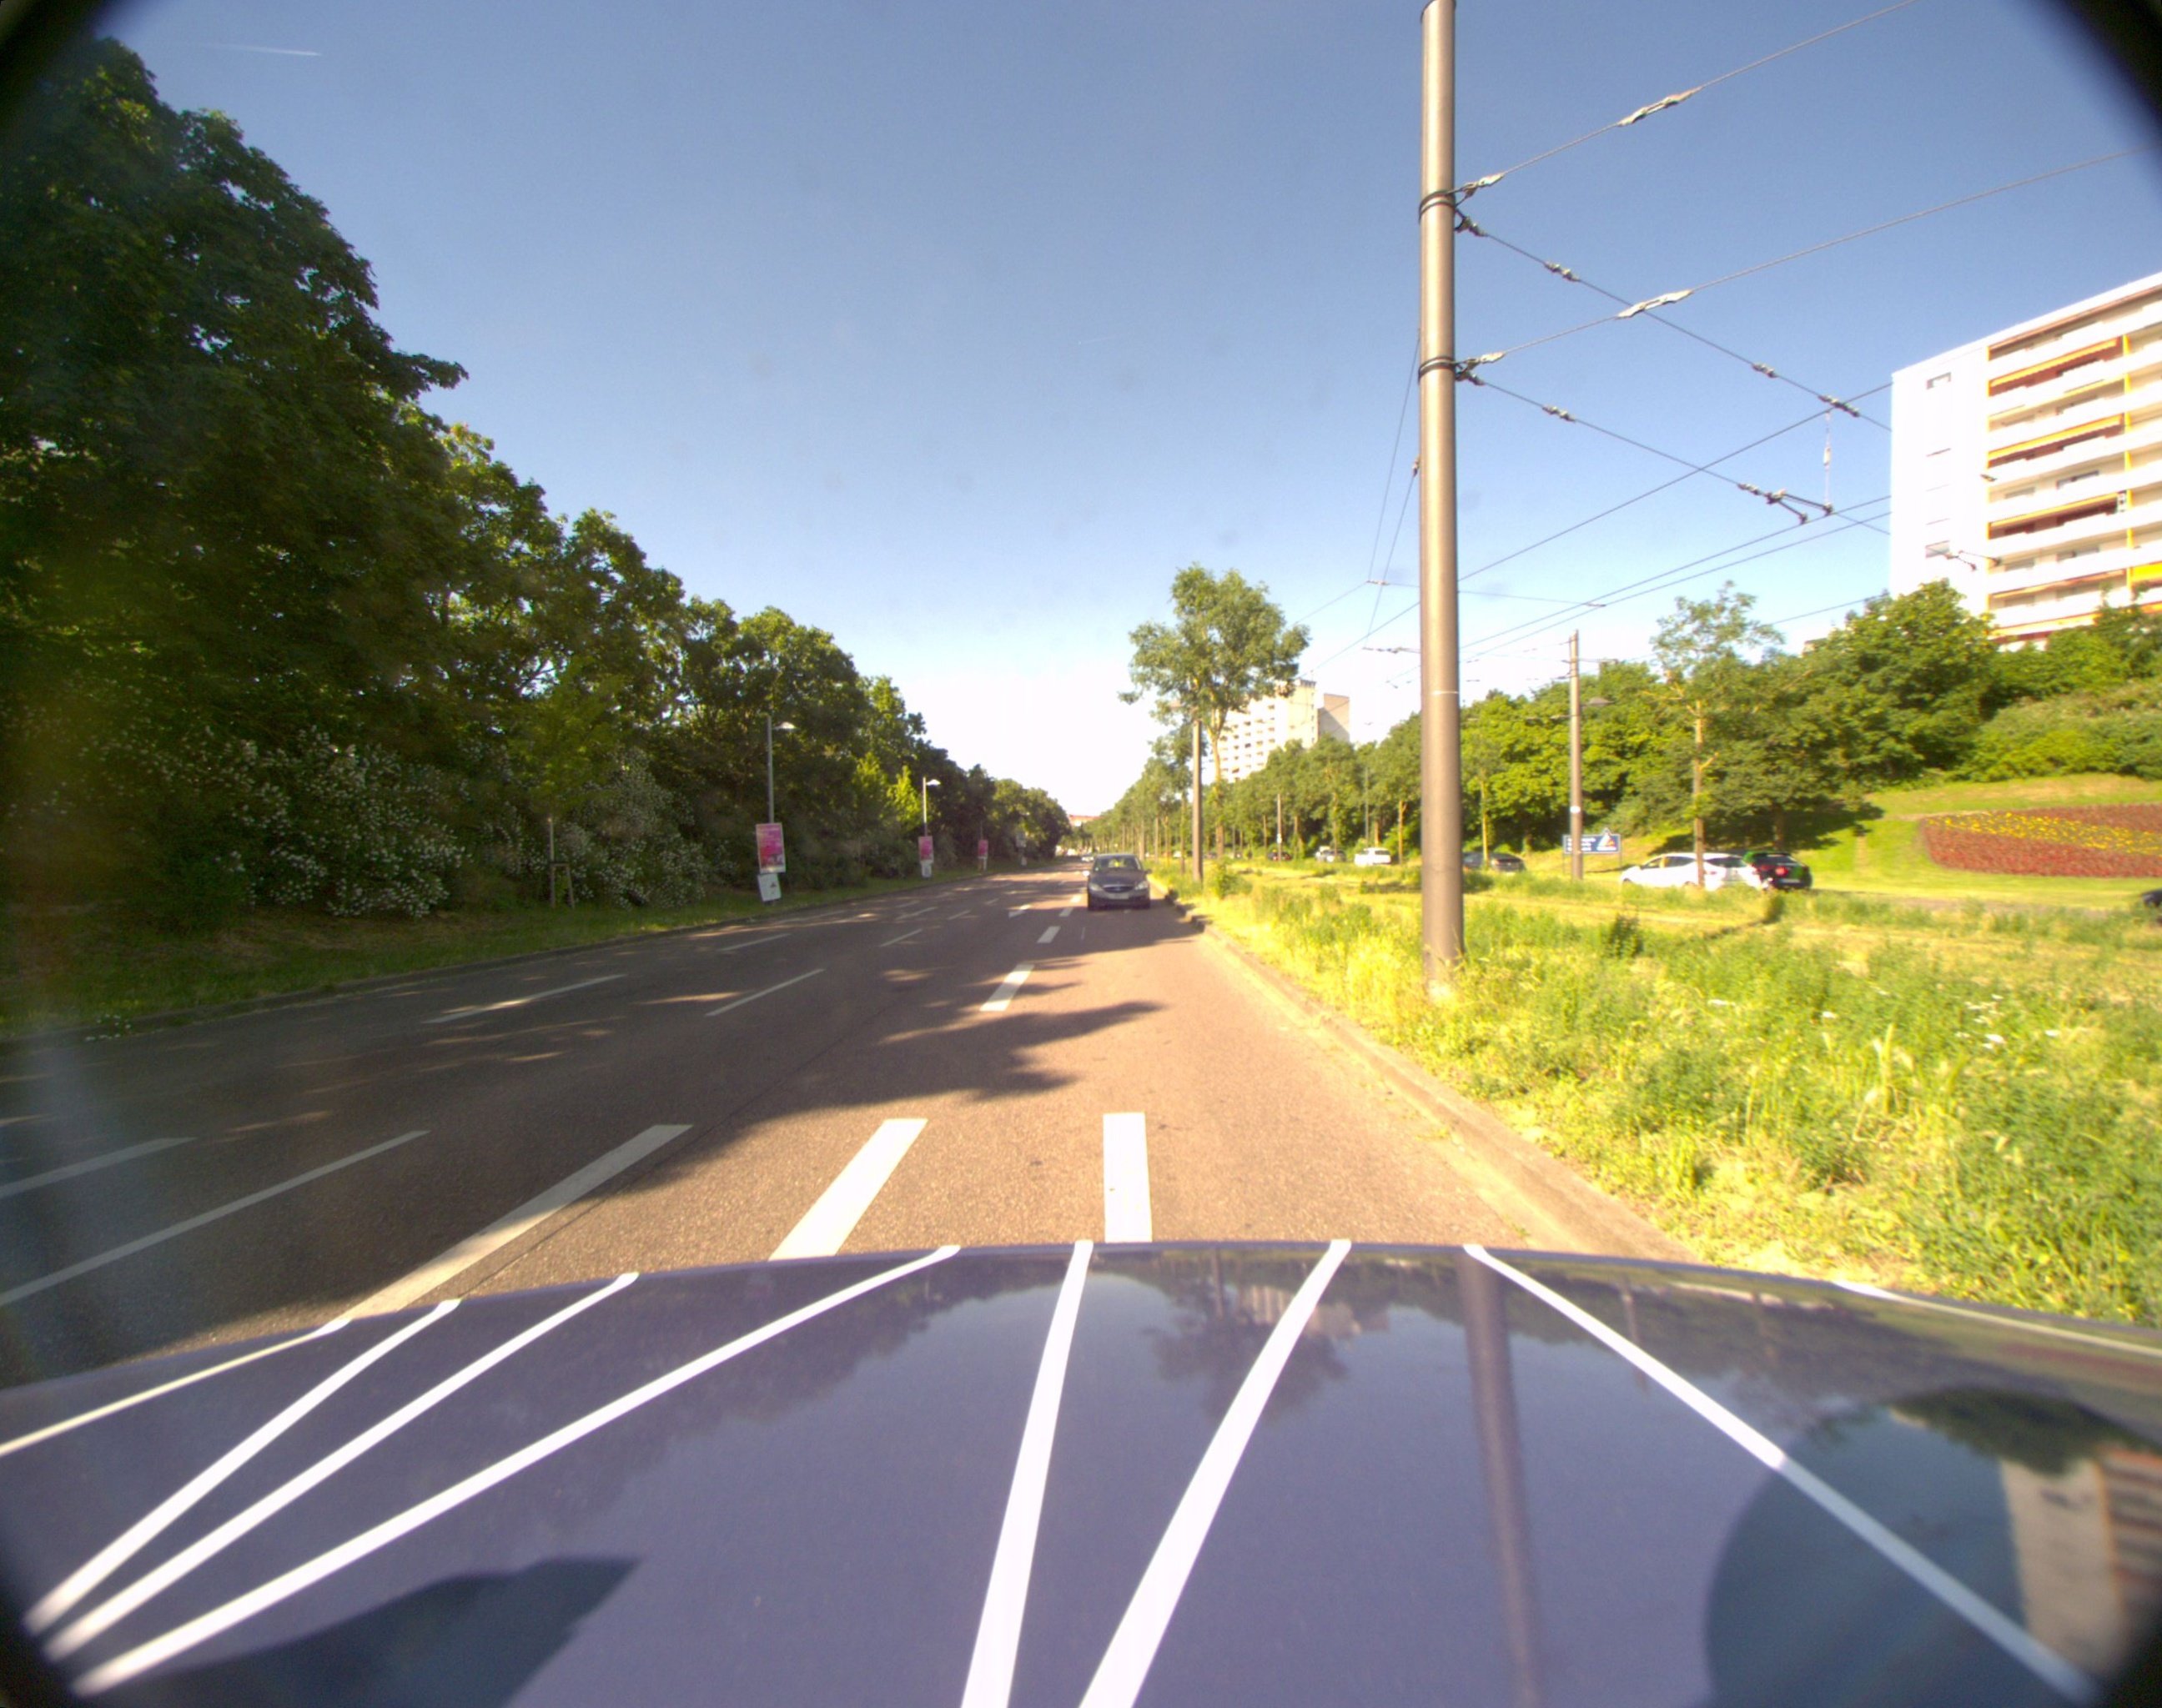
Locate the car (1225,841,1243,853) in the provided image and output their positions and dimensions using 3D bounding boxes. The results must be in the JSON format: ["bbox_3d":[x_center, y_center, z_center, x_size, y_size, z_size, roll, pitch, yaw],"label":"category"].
[{"bbox_3d":[22.457,-0.981,111.583,1.882,1.755,4.000,-1,0,1],"label":"car"}]

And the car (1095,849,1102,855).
[{"bbox_3d":[5.862,-0.715,255.192,1.998,2.002,4.000,-1,0,1],"label":"car"}]

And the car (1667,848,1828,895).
[{"bbox_3d":[21.959,0.529,25.261,1.867,1.410,4.000,-1,0,1],"label":"car"}]

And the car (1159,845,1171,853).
[{"bbox_3d":[18.100,-1.092,164.098,1.882,1.755,3.999,-1,0,-3],"label":"car"}]

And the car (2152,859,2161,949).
[{"bbox_3d":[17.633,0.778,9.742,1.799,1.408,4.310,-1,0,3],"label":"car"}]

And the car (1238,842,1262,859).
[{"bbox_3d":[20.021,-0.391,89.967,1.998,2.002,4.000,-1,0,1],"label":"car"}]

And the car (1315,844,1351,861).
[{"bbox_3d":[23.141,-0.173,69.897,1.998,1.477,4.000,-1,0,1],"label":"car"}]

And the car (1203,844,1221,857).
[{"bbox_3d":[18.770,-0.466,109.033,1.882,1.755,4.000,-1,0,1],"label":"car"}]

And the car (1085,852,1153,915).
[{"bbox_3d":[1.017,0.773,21.931,1.759,1.612,3.880,-1,0,1],"label":"car"}]

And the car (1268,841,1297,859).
[{"bbox_3d":[20.115,-0.411,75.846,1.882,1.755,4.000,-1,0,1],"label":"car"}]

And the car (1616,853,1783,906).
[{"bbox_3d":[18.360,0.699,22.826,1.867,1.410,4.000,-1,0,3],"label":"car"}]

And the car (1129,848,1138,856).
[{"bbox_3d":[13.140,-0.447,190.232,1.942,2.002,3.999,-1,0,-2],"label":"car"}]

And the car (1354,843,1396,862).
[{"bbox_3d":[23.080,-0.140,59.790,1.847,1.390,4.000,-1,0,2],"label":"car"}]

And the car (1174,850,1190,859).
[{"bbox_3d":[18.032,0.061,136.278,1.910,1.652,3.997,-1,0,-7],"label":"car"}]

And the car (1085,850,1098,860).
[{"bbox_3d":[1.540,0.191,112.369,1.875,1.428,4.594,-1,0,2],"label":"car"}]

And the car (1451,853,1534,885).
[{"bbox_3d":[19.363,0.664,35.968,1.825,1.353,4.230,-1,0,3],"label":"car"}]

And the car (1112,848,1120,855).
[{"bbox_3d":[10.048,-0.649,218.442,1.999,2.002,3.998,-1,0,-3],"label":"car"}]
